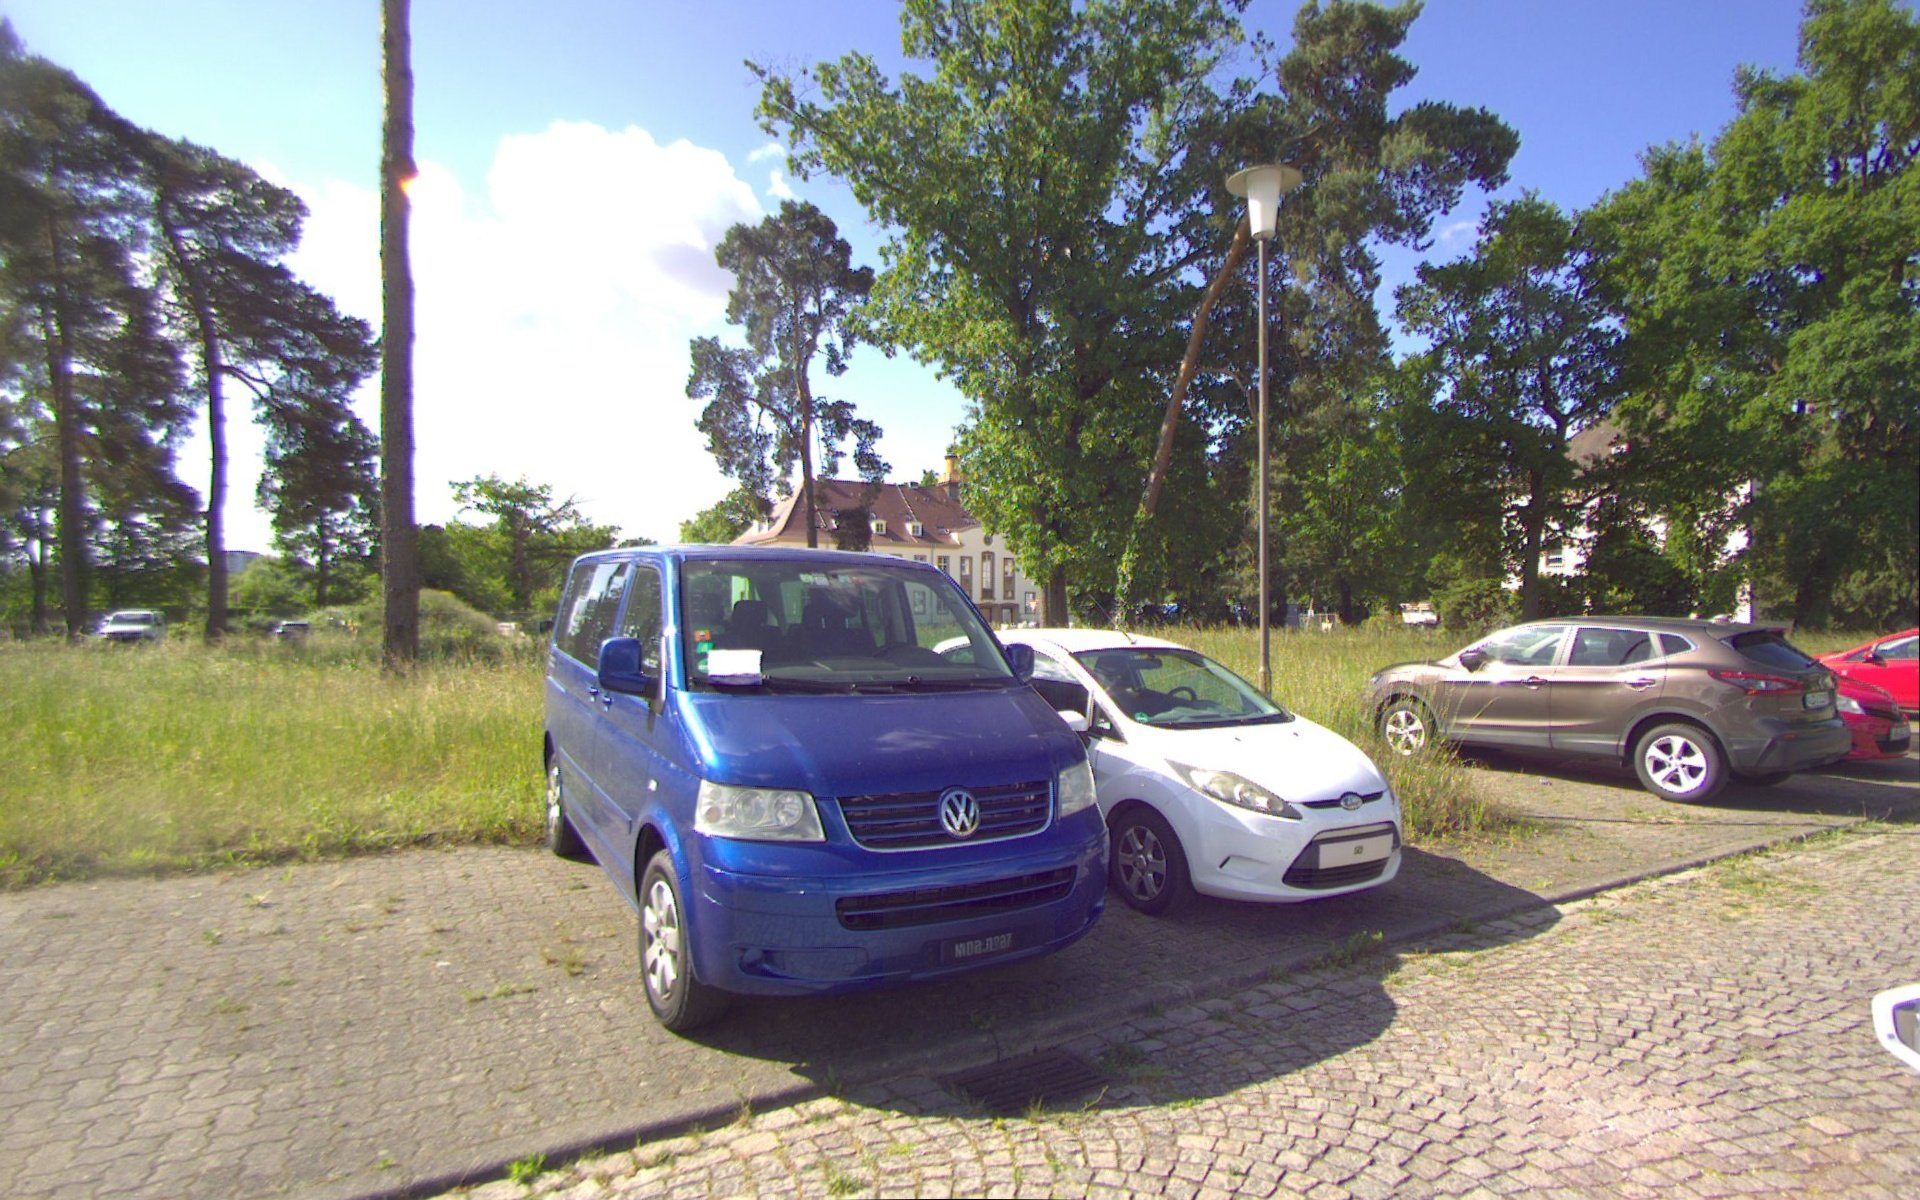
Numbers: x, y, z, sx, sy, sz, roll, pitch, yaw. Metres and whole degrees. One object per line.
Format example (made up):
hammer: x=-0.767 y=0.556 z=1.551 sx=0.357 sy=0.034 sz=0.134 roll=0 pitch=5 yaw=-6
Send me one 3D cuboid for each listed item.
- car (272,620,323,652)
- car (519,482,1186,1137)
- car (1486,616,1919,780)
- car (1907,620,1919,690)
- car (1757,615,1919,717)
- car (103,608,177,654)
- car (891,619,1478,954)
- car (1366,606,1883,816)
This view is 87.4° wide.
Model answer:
car: x=-34.991 y=1.892 z=53.143 sx=1.889 sy=1.626 sz=4.211 roll=1 pitch=-2 yaw=-29
car: x=-1.115 y=0.624 z=5.599 sx=1.982 sy=1.994 sz=4.695 roll=1 pitch=0 yaw=-30
car: x=8.606 y=0.976 z=11.819 sx=1.845 sy=1.468 sz=3.903 roll=0 pitch=1 yaw=-31
car: x=21.664 y=1.143 z=19.873 sx=1.819 sy=1.452 sz=3.907 roll=0 pitch=0 yaw=-28
car: x=15.096 y=1.013 z=15.585 sx=1.821 sy=1.480 sz=3.903 roll=0 pitch=0 yaw=-31
car: x=-40.431 y=1.519 z=49.648 sx=1.933 sy=2.192 sz=4.826 roll=1 pitch=-2 yaw=-28
car: x=1.172 y=0.915 z=6.764 sx=1.665 sy=1.459 sz=3.794 roll=1 pitch=0 yaw=-32
car: x=6.430 y=0.898 z=10.183 sx=1.951 sy=1.589 sz=3.933 roll=0 pitch=1 yaw=-31
